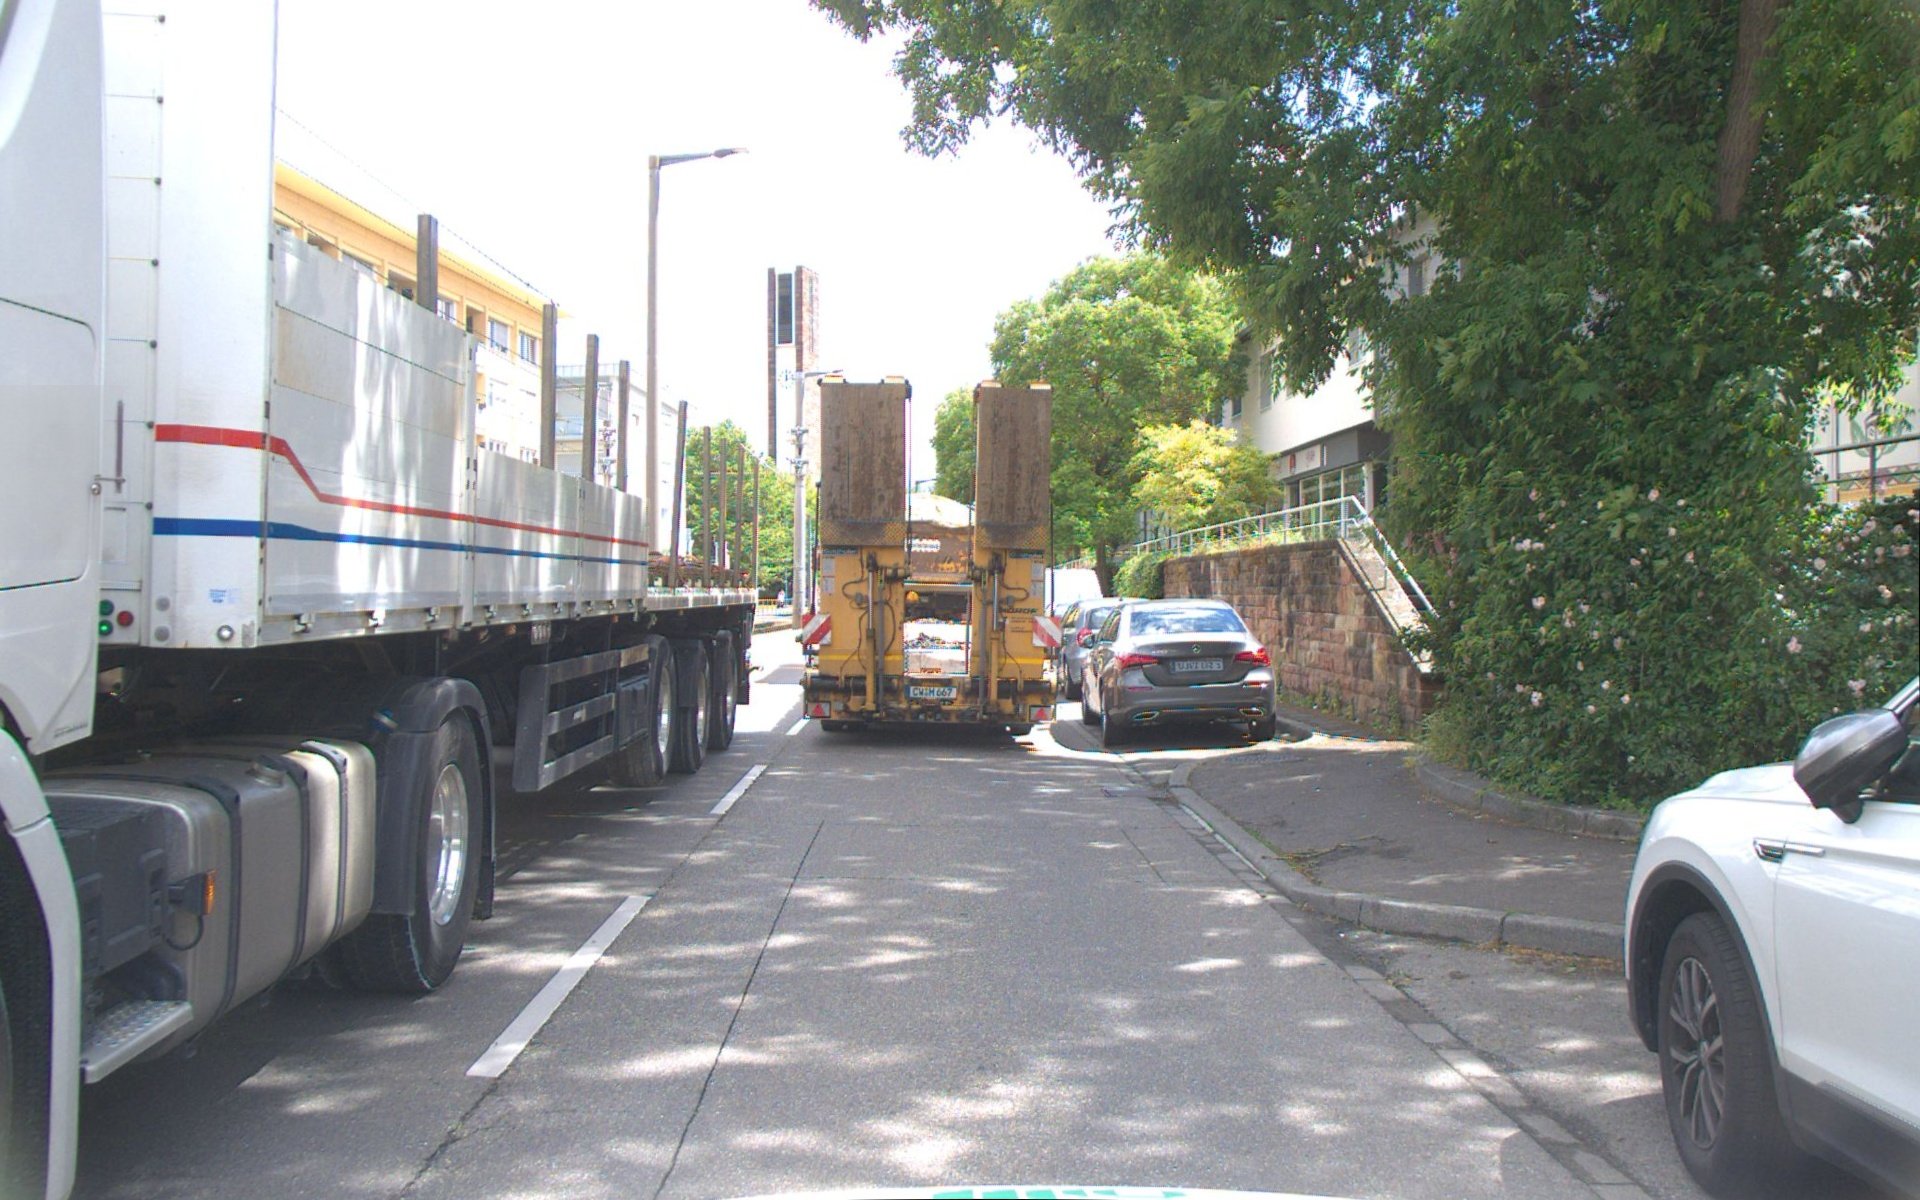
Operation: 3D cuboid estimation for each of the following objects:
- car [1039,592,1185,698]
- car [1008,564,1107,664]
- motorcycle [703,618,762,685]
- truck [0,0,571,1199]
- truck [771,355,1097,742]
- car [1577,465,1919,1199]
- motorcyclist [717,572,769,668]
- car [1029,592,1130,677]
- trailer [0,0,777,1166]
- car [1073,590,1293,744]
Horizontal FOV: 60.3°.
[{"bbox_3d":[2.238,0.616,25.335,1.656,1.430,4.067,-1,1,-3],"label":"car"},{"bbox_3d":[2.045,0.256,35.931,1.763,2.003,4.589,-1,1,-1],"label":"car"},{"bbox_3d":[-3.617,0.807,26.452,0.732,0.970,1.832,1,1,-2],"label":"motorcycle"},{"bbox_3d":[-2.989,-0.438,4.124,2.643,3.642,6.143,1,1,-2],"label":"truck"},{"bbox_3d":[-0.440,-0.571,21.820,3.061,3.626,12.455,0,1,-2],"label":"truck"},{"bbox_3d":[2.754,0.593,2.741,1.786,1.711,4.576,-1,1,0],"label":"car"},{"bbox_3d":[-3.459,0.307,26.389,0.732,1.492,0.887,0,1,-2],"label":"motorcyclist"},{"bbox_3d":[2.148,0.589,30.518,1.587,1.430,3.649,-1,1,0],"label":"car"},{"bbox_3d":[-3.167,-0.537,10.910,2.643,3.642,13.672,1,1,-1],"label":"trailer"},{"bbox_3d":[2.311,0.637,18.202,1.798,1.430,4.413,-1,1,0],"label":"car"}]
